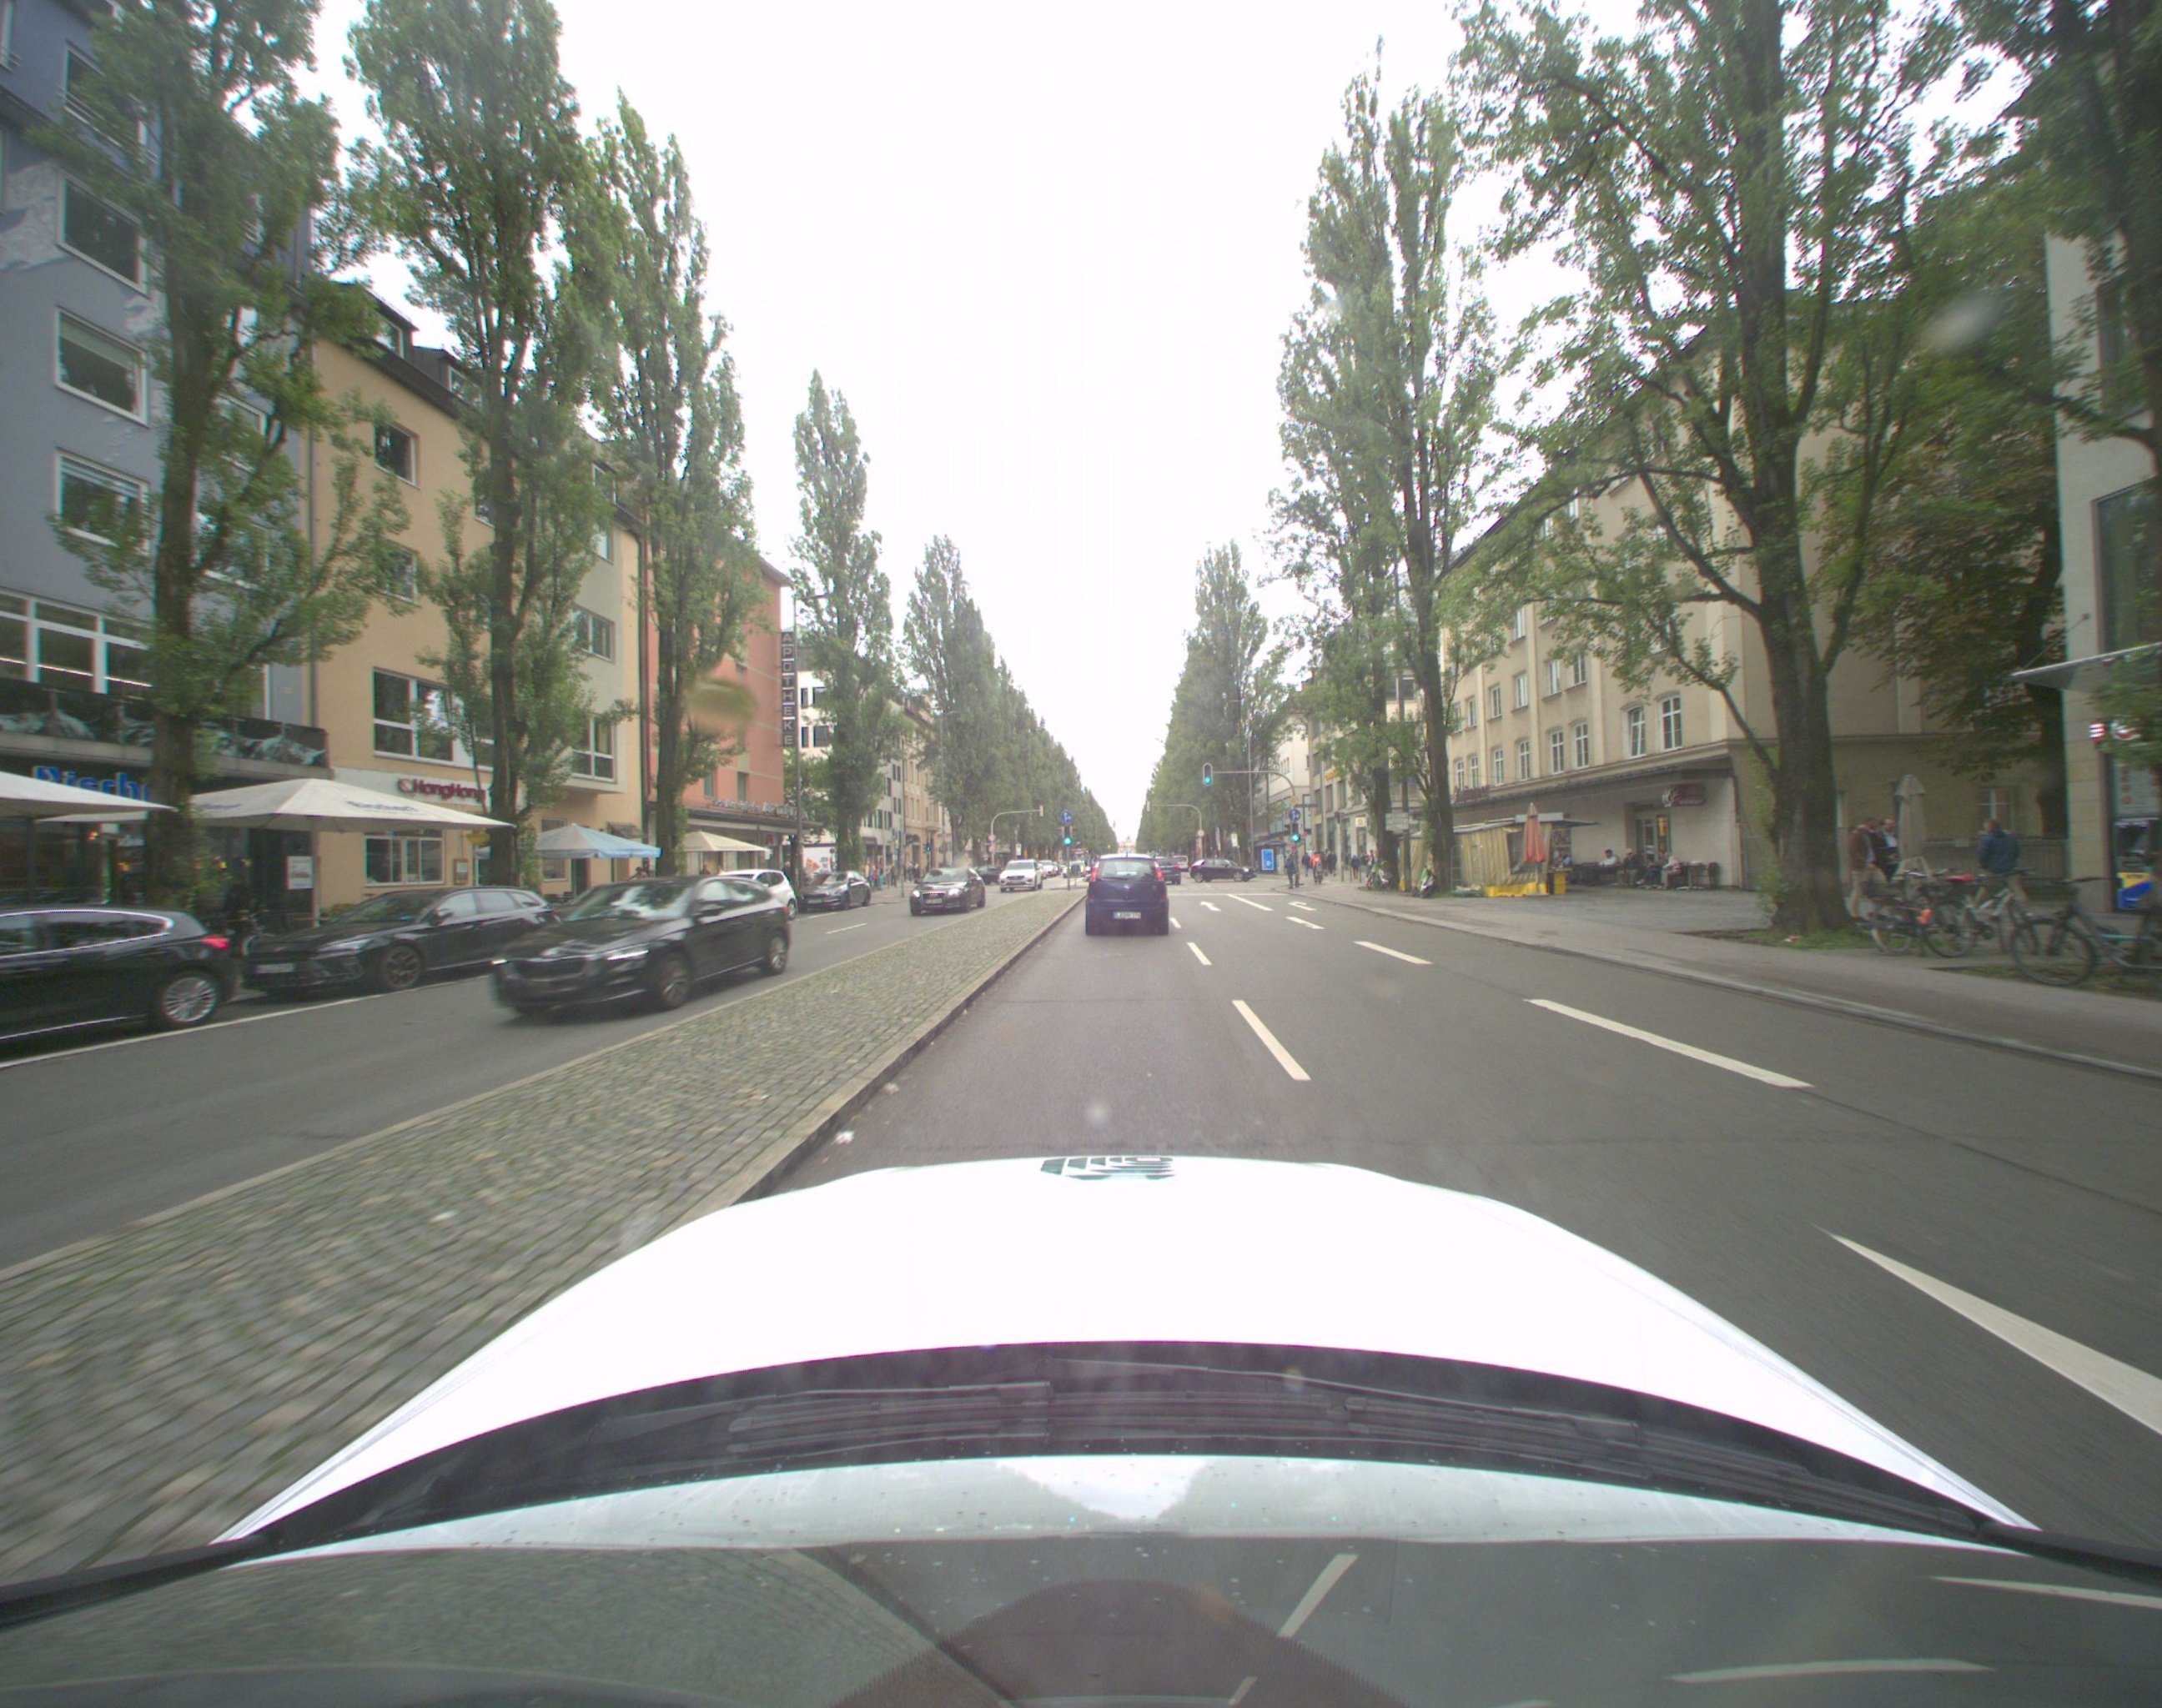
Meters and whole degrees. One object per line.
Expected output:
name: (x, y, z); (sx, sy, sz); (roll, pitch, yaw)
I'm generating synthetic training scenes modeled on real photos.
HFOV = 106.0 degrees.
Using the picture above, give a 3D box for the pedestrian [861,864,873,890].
pedestrian: (-14.280, 1.524, 54.437); (0.626, 1.689, 0.520); (0, -1, 4)

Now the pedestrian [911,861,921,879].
pedestrian: (-17.024, 1.669, 84.095); (0.696, 1.787, 0.821); (-2, -1, 4)

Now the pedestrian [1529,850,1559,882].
pedestrian: (18.666, 0.490, 32.854); (0.772, 1.264, 0.700); (-1, -1, 3)

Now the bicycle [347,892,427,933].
bicycle: (-19.531, 1.623, 22.965); (0.440, 1.002, 1.959); (-1, 0, 5)

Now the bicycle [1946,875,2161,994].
bicycle: (10.091, 0.761, 8.201); (0.433, 1.061, 2.000); (-2, 0, -7)

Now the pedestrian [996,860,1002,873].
pedestrian: (-11.445, 1.736, 113.823); (0.731, 1.673, 0.953); (-2, -1, 3)

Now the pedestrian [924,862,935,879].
pedestrian: (-14.614, 1.587, 78.660); (0.775, 1.618, 0.935); (-2, -1, 3)

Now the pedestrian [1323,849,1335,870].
pedestrian: (20.955, 0.457, 68.796); (0.746, 1.758, 0.711); (-1, -1, 4)

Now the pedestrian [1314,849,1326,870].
pedestrian: (20.148, 0.444, 68.714); (0.746, 1.758, 1.018); (-2, -1, 4)

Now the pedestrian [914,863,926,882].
pedestrian: (-13.518, 1.521, 68.322); (0.748, 1.567, 0.989); (-2, -1, 1)

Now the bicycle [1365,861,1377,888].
bicycle: (11.987, 0.822, 33.710); (0.401, 1.070, 1.820); (4, 0, 19)

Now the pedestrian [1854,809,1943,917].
pedestrian: (14.584, 0.157, 14.560); (0.653, 1.851, 0.907); (-2, -1, 5)

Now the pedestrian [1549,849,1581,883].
pedestrian: (18.465, 0.464, 31.080); (0.772, 1.264, 0.700); (-1, -1, 3)

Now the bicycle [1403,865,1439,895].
bicycle: (11.398, 0.856, 27.323); (0.506, 0.975, 1.771); (0, -1, 2)

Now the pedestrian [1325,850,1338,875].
pedestrian: (17.806, 0.597, 57.953); (0.705, 1.758, 0.753); (-2, -1, 4)

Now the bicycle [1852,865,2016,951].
bicycle: (11.052, 0.681, 10.552); (1.995, 1.083, 0.285); (0, -1, -6)

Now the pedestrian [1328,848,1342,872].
pedestrian: (18.627, 0.453, 59.705); (0.746, 1.758, 0.860); (-2, -1, 4)

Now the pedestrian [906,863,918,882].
pedestrian: (-14.703, 1.602, 70.886); (0.729, 1.682, 0.978); (0, -1, 3)

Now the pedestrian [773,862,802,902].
pedestrian: (-13.269, 1.243, 36.869); (0.729, 1.796, 0.998); (-1, -1, 21)

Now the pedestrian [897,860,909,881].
pedestrian: (-15.502, 1.414, 70.854); (0.796, 1.787, 0.912); (0, -1, 3)

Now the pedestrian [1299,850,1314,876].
pedestrian: (16.353, 0.657, 59.040); (0.815, 1.818, 0.891); (-1, -1, 2)

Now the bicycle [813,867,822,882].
bicycle: (-21.412, 1.683, 66.176); (0.449, 1.184, 2.054); (-1, -1, -12)

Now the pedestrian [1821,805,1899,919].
pedestrian: (13.853, 0.140, 14.496); (0.653, 1.971, 0.723); (-2, 0, 6)

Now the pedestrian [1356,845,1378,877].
pedestrian: (15.960, 0.392, 45.451); (0.670, 1.703, 0.850); (1, -4, -43)

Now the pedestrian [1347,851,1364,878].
pedestrian: (17.068, 0.675, 50.670); (0.746, 1.636, 0.735); (-3, -3, 5)

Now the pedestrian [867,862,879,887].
pedestrian: (-14.049, 1.401, 55.069); (0.584, 1.691, 0.514); (-2, -1, 3)

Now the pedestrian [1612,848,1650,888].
pedestrian: (17.971, 0.444, 26.614); (0.772, 1.264, 0.700); (-1, -1, 3)

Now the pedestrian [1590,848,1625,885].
pedestrian: (18.251, 0.427, 28.248); (0.772, 1.264, 0.700); (-1, -1, 3)

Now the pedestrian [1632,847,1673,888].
pedestrian: (17.924, 0.418, 25.564); (0.772, 1.264, 0.700); (-1, -1, 3)

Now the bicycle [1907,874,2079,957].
bicycle: (11.404, 0.753, 10.191); (1.995, 0.945, 0.285); (-2, -1, -6)

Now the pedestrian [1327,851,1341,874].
pedestrian: (19.301, 0.655, 62.161); (0.746, 1.677, 0.964); (-2, -1, 4)

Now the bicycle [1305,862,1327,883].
bicycle: (12.542, 0.972, 43.508); (0.624, 1.087, 2.265); (-2, -1, 3)

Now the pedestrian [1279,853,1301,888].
pedestrian: (9.828, 0.749, 38.274); (0.763, 1.610, 0.864); (-2, -1, -1)

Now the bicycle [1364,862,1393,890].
bicycle: (11.520, 0.848, 31.598); (0.506, 1.048, 1.771); (0, -1, 2)

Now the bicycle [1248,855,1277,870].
bicycle: (15.685, 0.723, 70.475); (2.333, 1.252, 0.633); (-1, -1, 2)

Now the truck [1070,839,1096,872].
truck: (0.251, 0.196, 95.016); (2.453, 3.670, 8.447); (-2, 0, 3)
